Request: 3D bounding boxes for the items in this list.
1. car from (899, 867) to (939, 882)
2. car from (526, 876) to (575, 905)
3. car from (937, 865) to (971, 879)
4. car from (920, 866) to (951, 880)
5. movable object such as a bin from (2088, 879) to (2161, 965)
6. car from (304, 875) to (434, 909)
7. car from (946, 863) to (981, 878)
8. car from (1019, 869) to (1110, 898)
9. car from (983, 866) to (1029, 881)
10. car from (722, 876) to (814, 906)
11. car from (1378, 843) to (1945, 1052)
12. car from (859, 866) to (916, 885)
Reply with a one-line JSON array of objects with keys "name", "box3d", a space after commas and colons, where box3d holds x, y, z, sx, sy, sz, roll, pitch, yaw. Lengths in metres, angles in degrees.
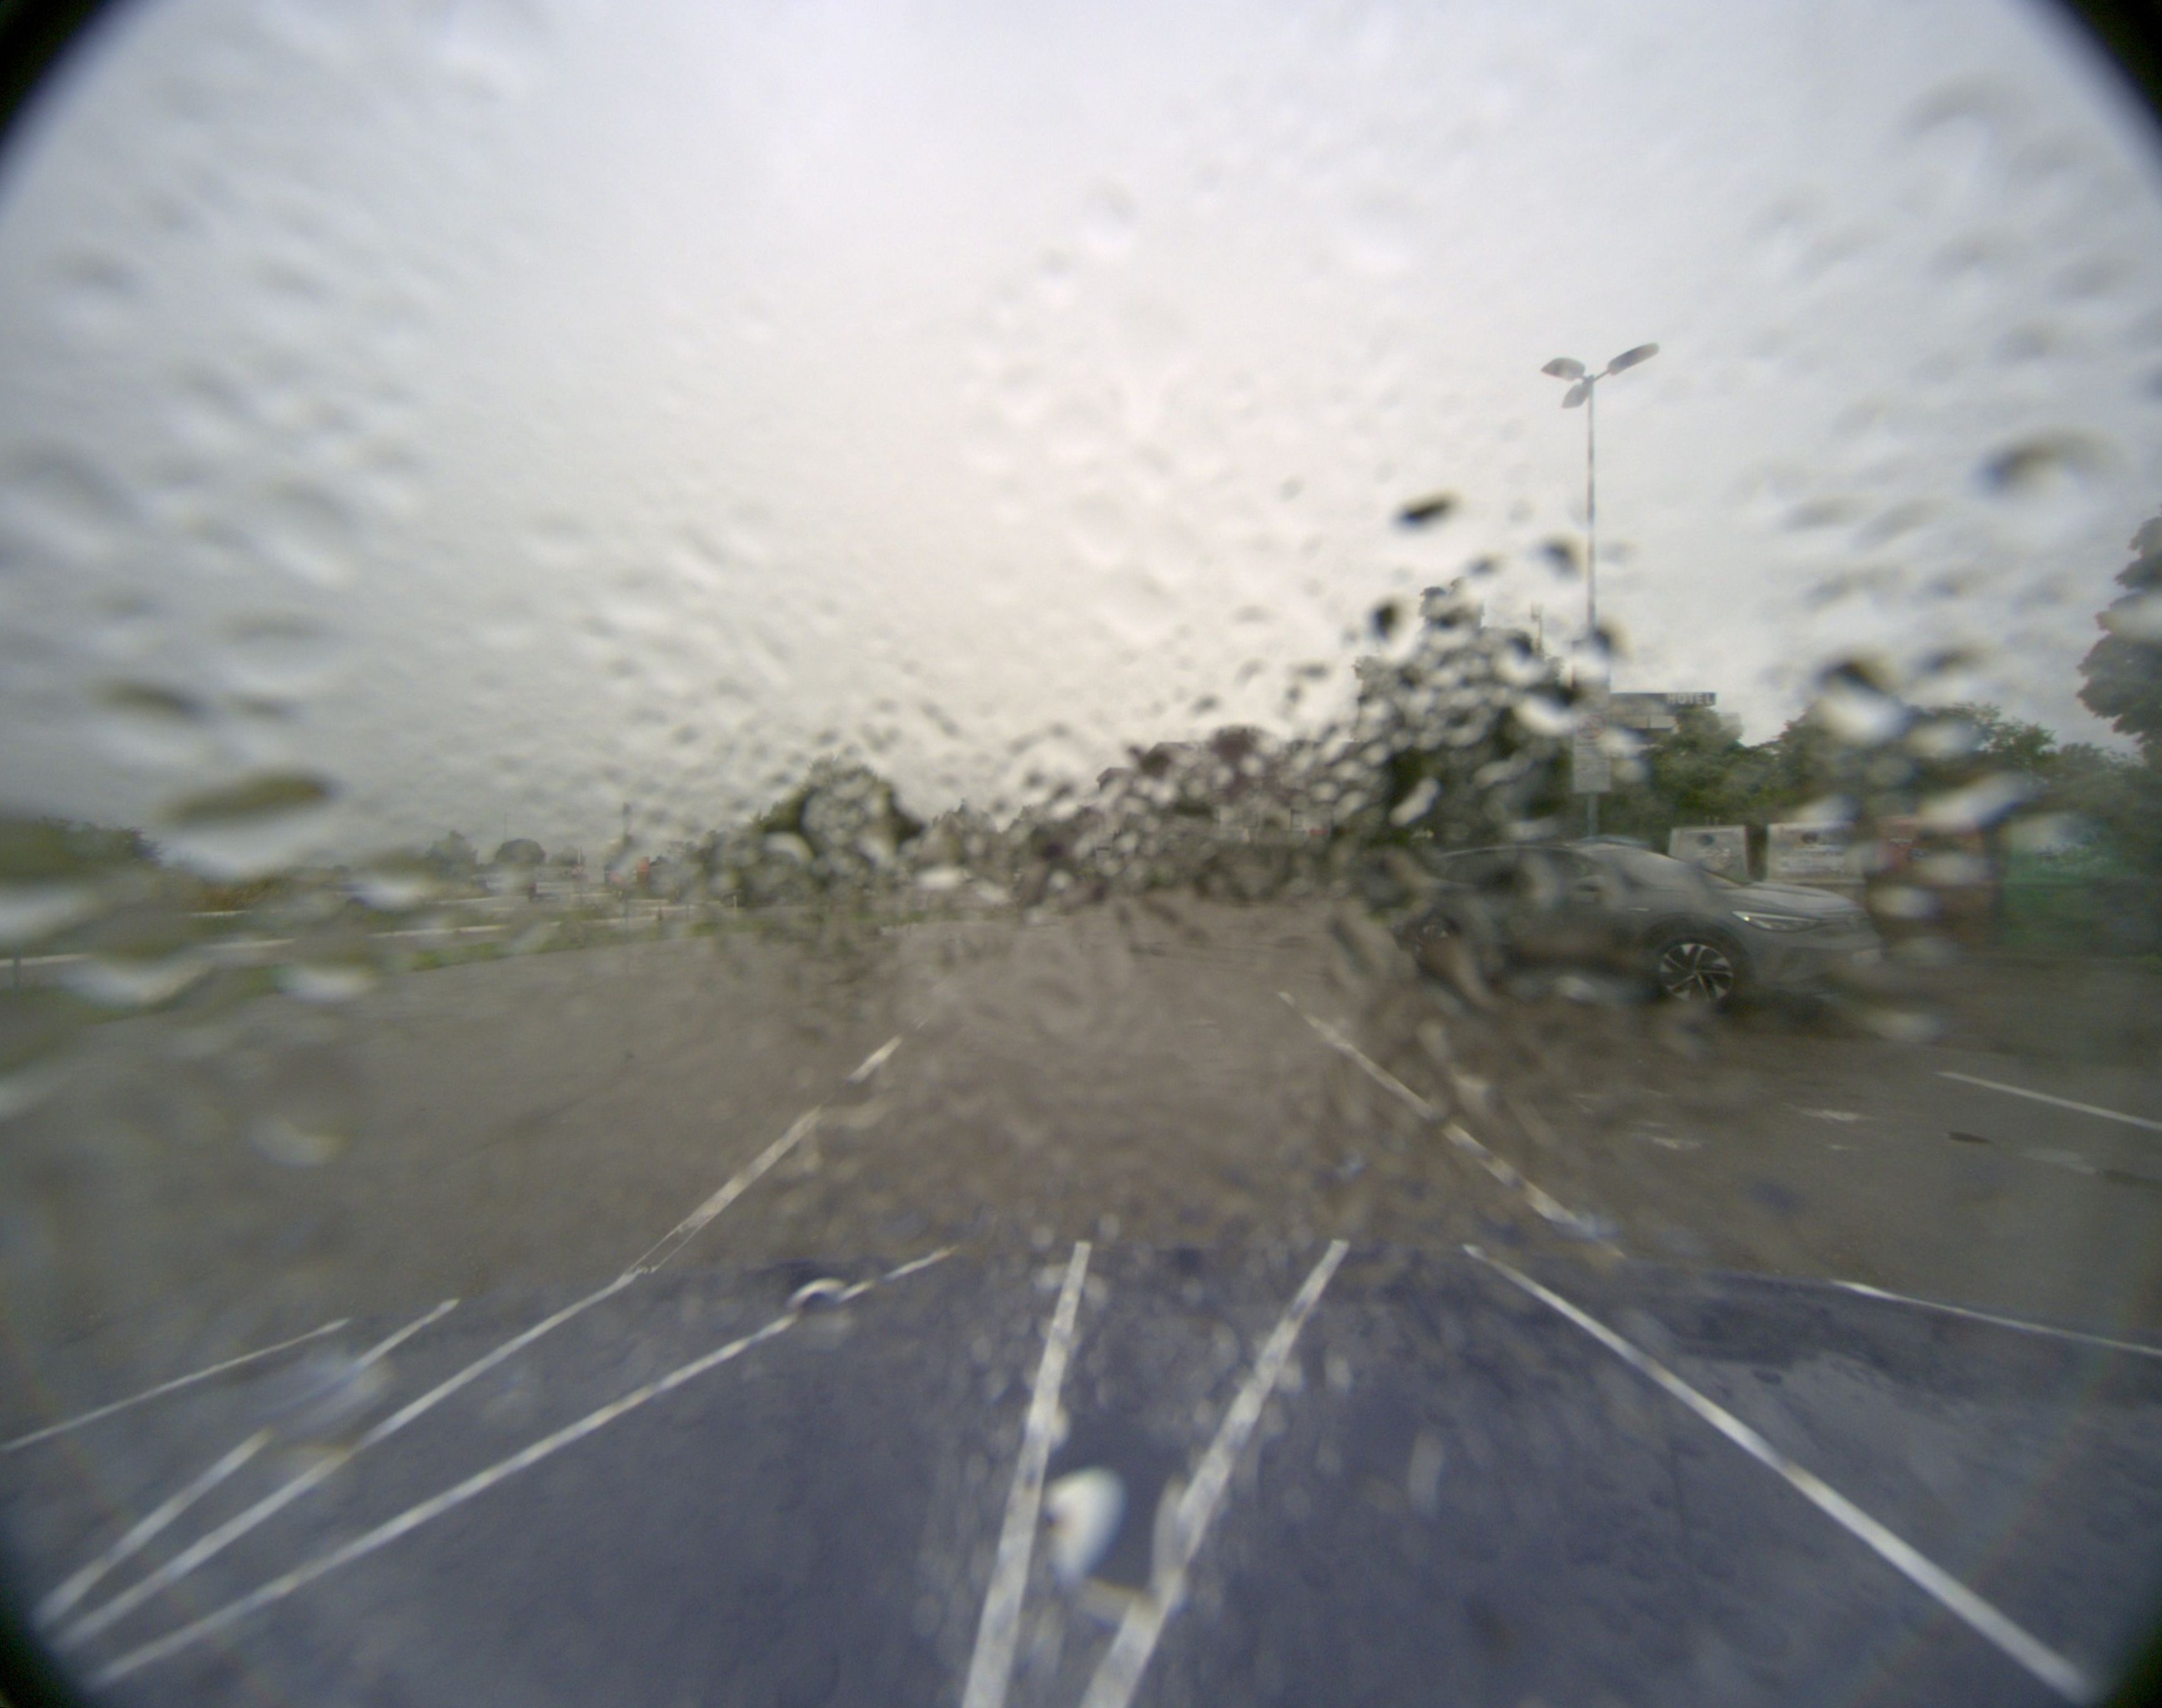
[{"name": "car", "box3d": [-18.364, 2.331, 86.122, 4.636, 1.541, 2.004, -3, -1, 41]}, {"name": "car", "box3d": [-36.971, 2.505, 53.082, 1.895, 1.674, 4.660, 0, 1, -24]}, {"name": "car", "box3d": [-15.023, 2.178, 90.085, 3.878, 1.560, 1.753, -3, -1, 38]}, {"name": "car", "box3d": [-16.892, 2.215, 88.228, 3.716, 1.540, 1.670, -3, -1, 43]}, {"name": "movable object such as a bin", "box3d": [11.696, 0.743, 8.527, 0.510, 0.917, 0.437, 0, -1, -39]}, {"name": "car", "box3d": [-33.767, 1.755, 36.216, 1.754, 1.317, 4.312, 1, 1, 10]}, {"name": "car", "box3d": [-14.250, 1.994, 92.157, 3.989, 1.717, 1.994, -3, -1, 37]}, {"name": "car", "box3d": [-0.846, 1.503, 39.394, 4.320, 1.440, 1.872, -1, -1, 18]}, {"name": "car", "box3d": [-7.293, 1.895, 74.354, 4.358, 1.416, 1.850, -1, -1, -3]}, {"name": "car", "box3d": [-17.365, 2.029, 42.291, 4.358, 1.416, 1.706, -2, 0, -3]}, {"name": "car", "box3d": [5.735, 0.759, 8.316, 2.002, 1.565, 4.492, -2, 0, -24]}, {"name": "car", "box3d": [-19.952, 2.184, 78.470, 5.374, 1.711, 2.000, -2, -1, -2]}]
